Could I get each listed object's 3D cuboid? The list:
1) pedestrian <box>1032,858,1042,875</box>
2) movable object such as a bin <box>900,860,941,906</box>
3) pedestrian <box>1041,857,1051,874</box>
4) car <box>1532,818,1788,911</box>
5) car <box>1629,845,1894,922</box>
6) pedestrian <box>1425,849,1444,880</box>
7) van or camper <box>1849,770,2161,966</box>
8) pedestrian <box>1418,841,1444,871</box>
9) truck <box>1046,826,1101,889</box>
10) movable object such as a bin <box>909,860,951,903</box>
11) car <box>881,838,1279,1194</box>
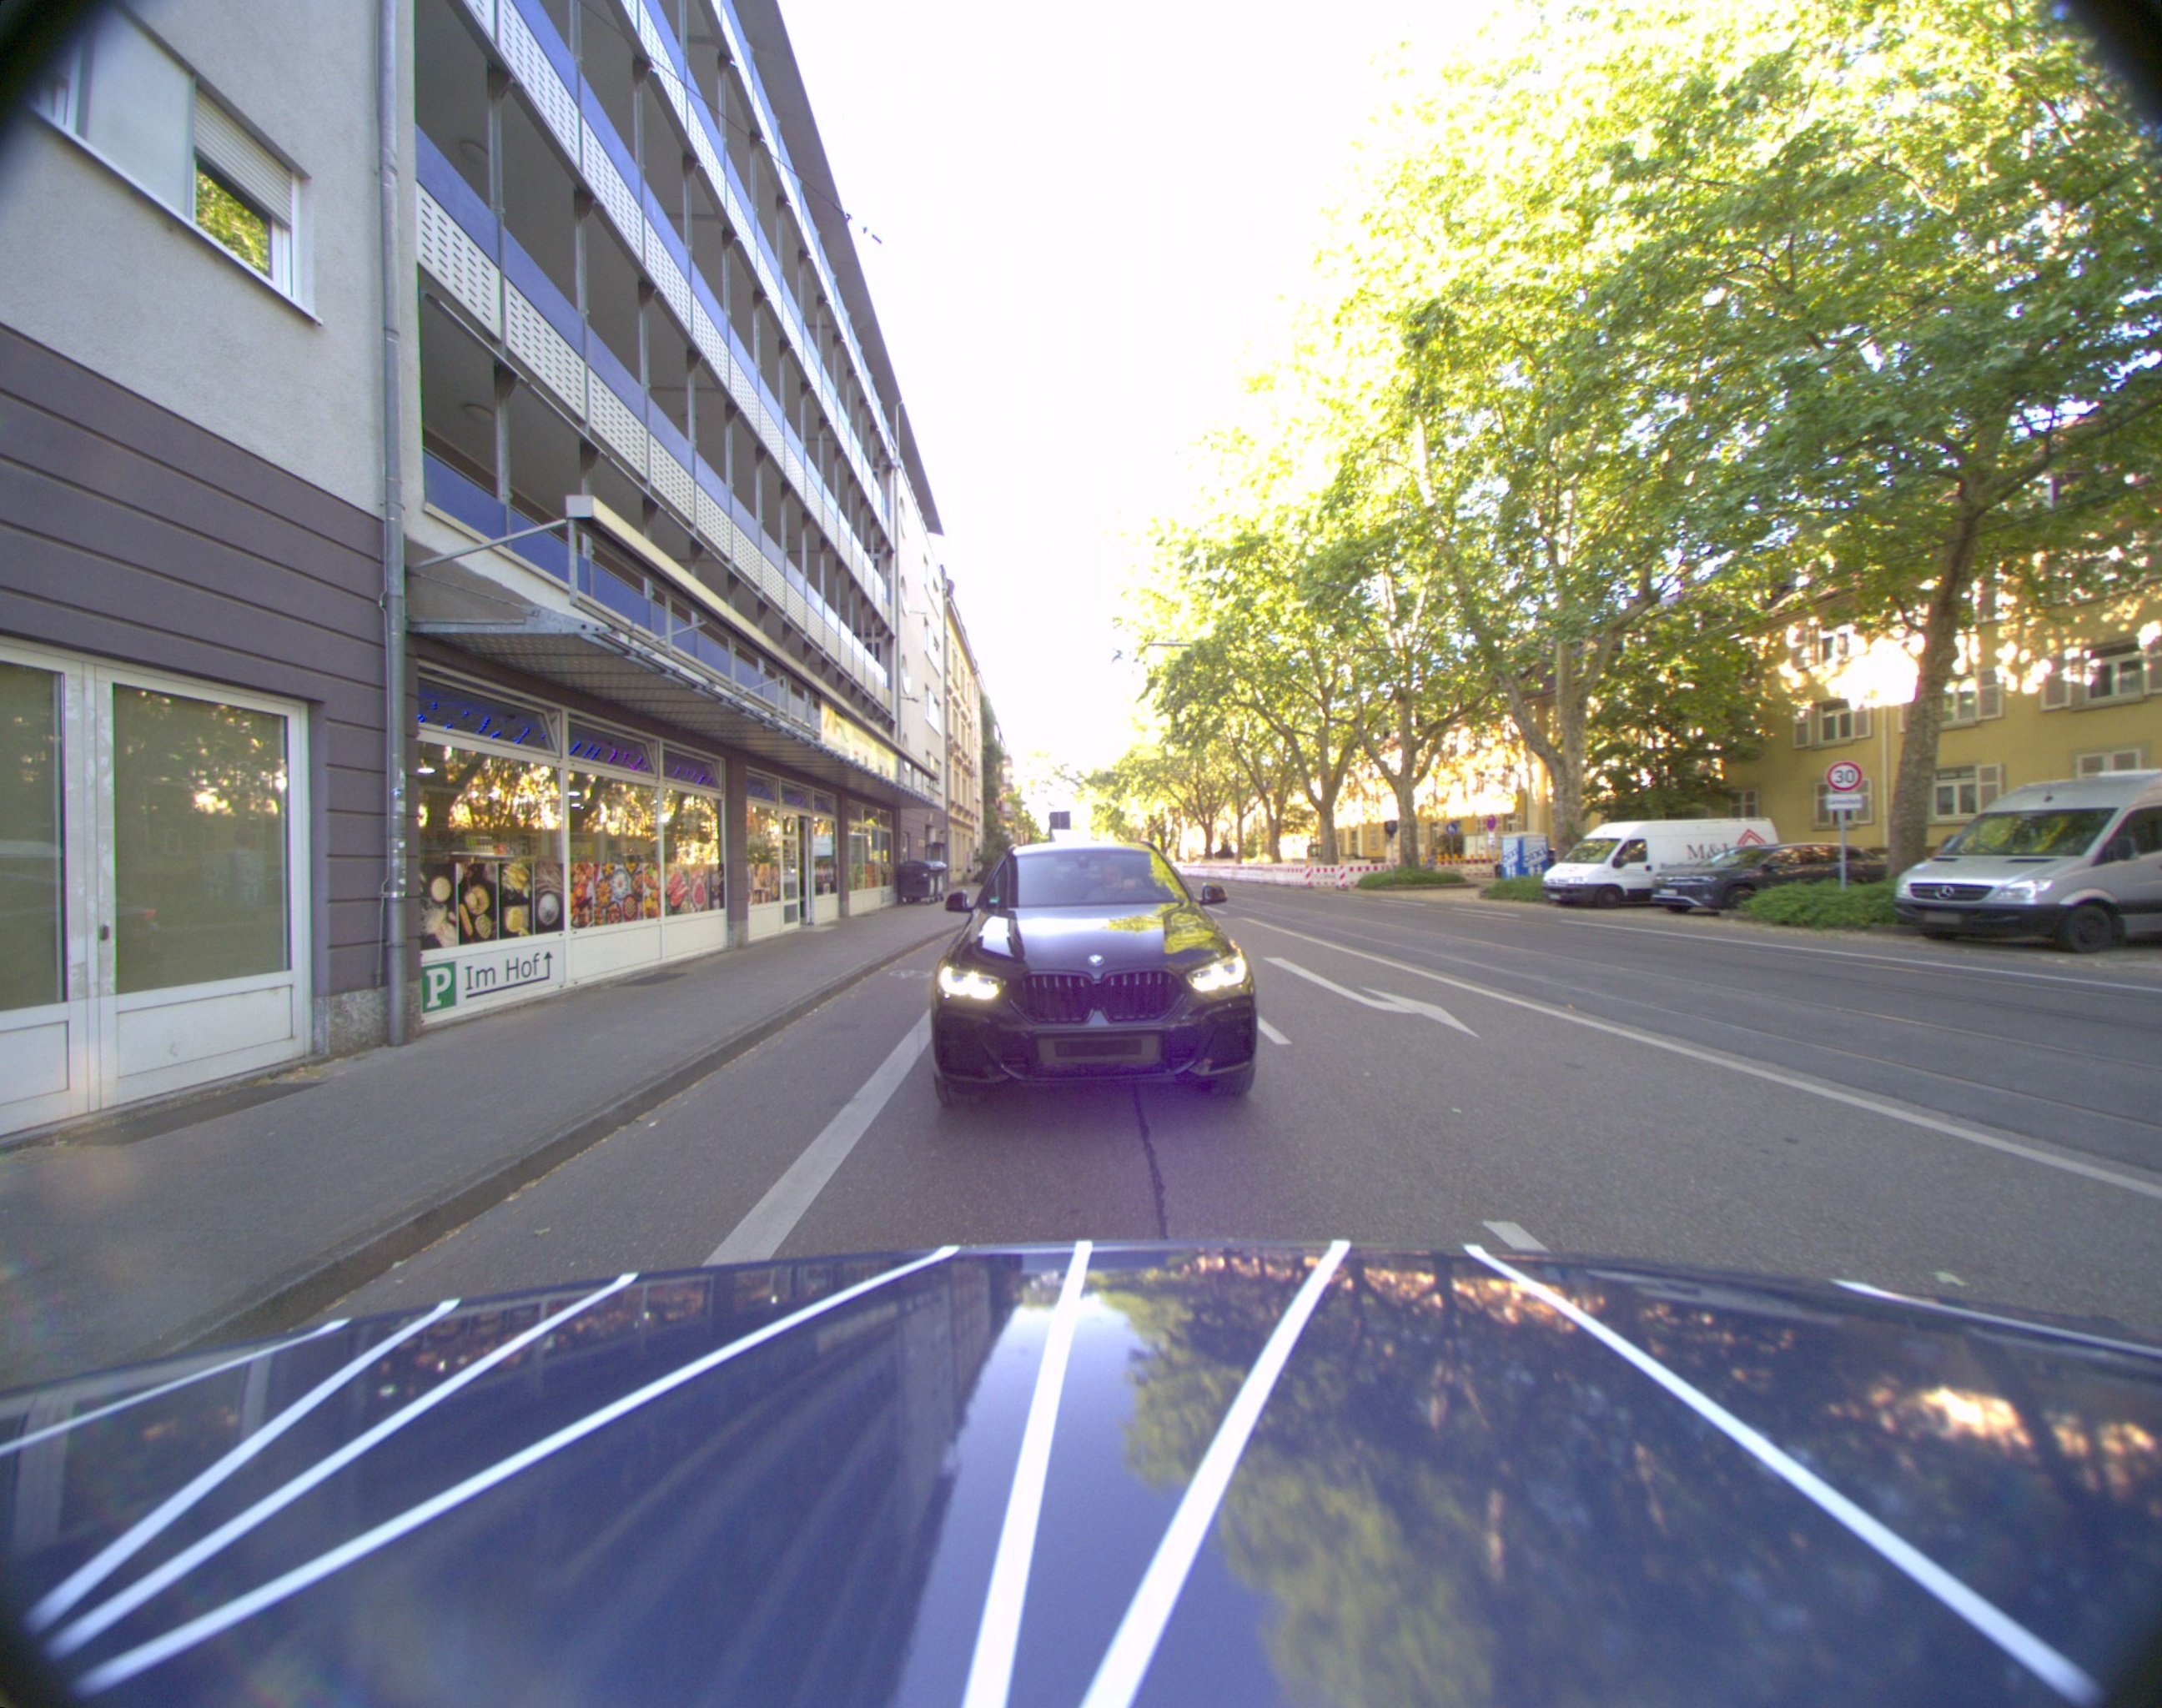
[{"bbox_3d":[-4.619,1.280,79.577,0.876,1.728,0.848,-3,1,2],"label":"pedestrian"},{"bbox_3d":[-5.228,0.938,24.816,1.069,1.438,1.296,-1,0,-1],"label":"movable object such as a bin"},{"bbox_3d":[-3.672,1.228,80.070,0.876,1.728,0.848,-3,1,1],"label":"pedestrian"},{"bbox_3d":[15.851,0.276,21.005,5.612,2.361,2.025,-1,0,-2],"label":"car"},{"bbox_3d":[15.940,0.659,17.978,4.575,1.621,1.969,-1,0,-2],"label":"car"},{"bbox_3d":[17.852,0.534,38.376,0.715,1.563,0.598,-1,0,41],"label":"pedestrian"},{"bbox_3d":[16.089,0.130,11.805,6.127,2.661,2.229,-2,0,-2],"label":"van or camper"},{"bbox_3d":[23.691,0.115,51.490,1.098,2.002,1.235,-1,0,-4],"label":"pedestrian"},{"bbox_3d":[-0.577,0.206,43.161,2.385,3.165,8.525,2,0,-5],"label":"truck"},{"bbox_3d":[-5.288,0.958,26.711,1.122,1.437,1.306,-1,0,4],"label":"movable object such as a bin"},{"bbox_3d":[0.021,0.828,6.063,1.943,1.733,4.475,-2,0,1],"label":"car"}]
